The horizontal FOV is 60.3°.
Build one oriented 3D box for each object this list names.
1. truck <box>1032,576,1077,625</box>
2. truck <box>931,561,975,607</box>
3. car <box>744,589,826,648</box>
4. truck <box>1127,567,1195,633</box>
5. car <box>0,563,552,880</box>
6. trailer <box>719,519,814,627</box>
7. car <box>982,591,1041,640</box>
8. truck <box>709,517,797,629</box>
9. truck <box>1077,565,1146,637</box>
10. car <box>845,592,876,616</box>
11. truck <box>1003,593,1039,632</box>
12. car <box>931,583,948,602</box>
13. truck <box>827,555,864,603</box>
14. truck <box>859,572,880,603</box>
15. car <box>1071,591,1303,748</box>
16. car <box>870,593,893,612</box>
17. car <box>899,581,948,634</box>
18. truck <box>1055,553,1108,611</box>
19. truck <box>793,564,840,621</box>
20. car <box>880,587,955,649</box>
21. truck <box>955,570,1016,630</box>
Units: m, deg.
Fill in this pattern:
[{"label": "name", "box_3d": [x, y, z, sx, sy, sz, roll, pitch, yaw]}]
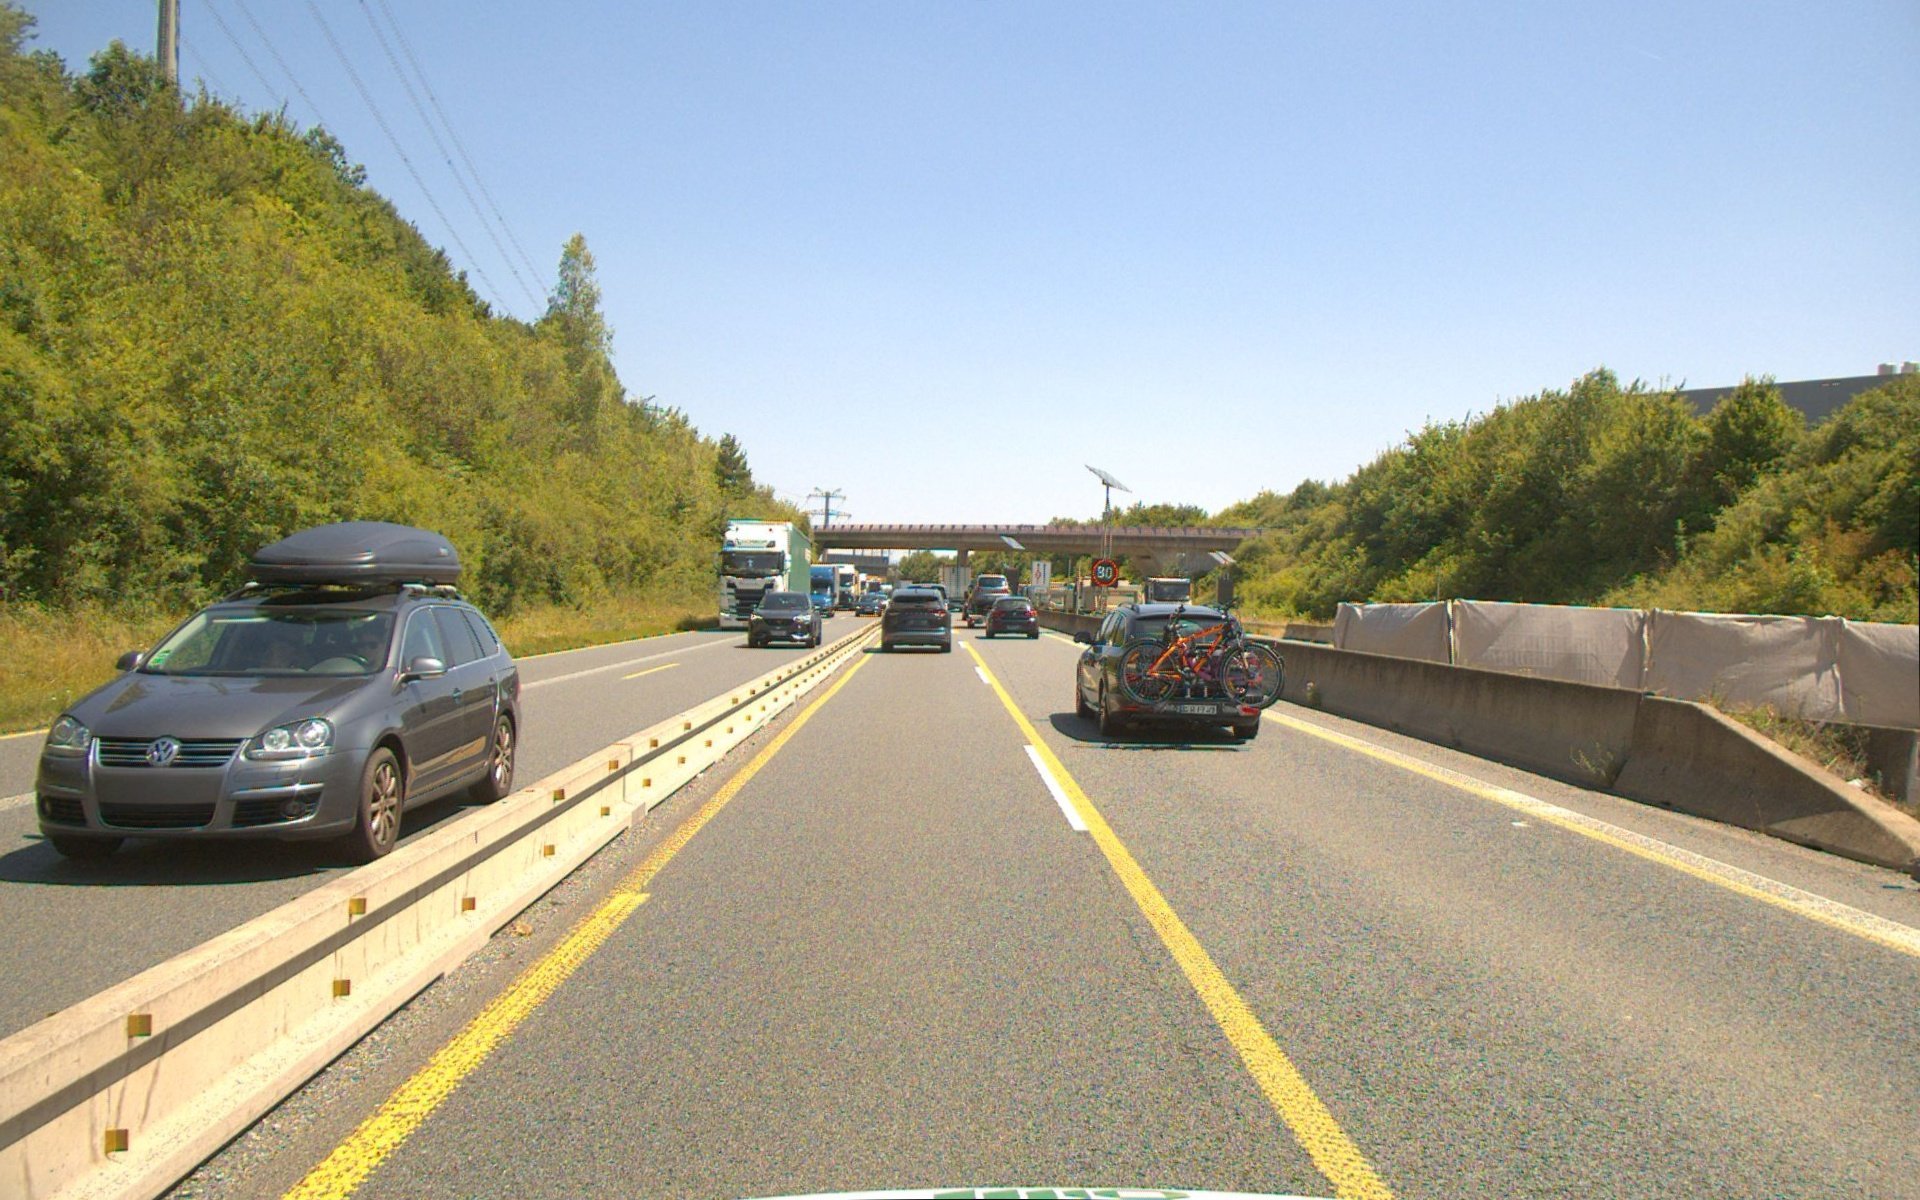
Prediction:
[{"label": "truck", "box_3d": [7.252, 0.027, 127.622, 2.633, 3.619, 9.599, 1, 0, -2]}, {"label": "truck", "box_3d": [-0.665, -1.390, 146.238, 3.227, 3.912, 10.102, 1, 0, -4]}, {"label": "car", "box_3d": [-4.821, 0.480, 46.018, 1.860, 1.531, 4.275, 1, 0, -1]}, {"label": "truck", "box_3d": [11.397, -0.014, 94.528, 2.633, 3.572, 8.377, 1, 0, -2]}, {"label": "car", "box_3d": [-3.985, 0.601, 10.309, 1.860, 1.542, 4.275, 1, 0, -1]}, {"label": "trailer", "box_3d": [-8.239, -1.082, 71.981, 2.833, 4.197, 13.240, 1, 0, -2]}, {"label": "car", "box_3d": [1.771, 0.512, 57.832, 1.860, 1.613, 4.275, 1, 0, -1]}, {"label": "truck", "box_3d": [-8.071, -1.014, 65.115, 2.836, 4.190, 6.018, 0, 0, -2]}, {"label": "truck", "box_3d": [7.851, 0.029, 86.737, 2.482, 3.572, 9.093, 1, 0, -2]}, {"label": "car", "box_3d": [-6.626, 0.266, 110.647, 1.724, 1.516, 4.402, 1, 0, 1]}, {"label": "truck", "box_3d": [5.877, 1.137, 160.439, 2.633, 3.619, 9.320, 1, 0, -3]}, {"label": "car", "box_3d": [-2.229, -0.771, 180.794, 1.860, 2.003, 4.275, 1, 0, -1]}, {"label": "truck", "box_3d": [-10.195, -1.842, 147.661, 2.596, 4.061, 9.649, 2, 0, -1]}, {"label": "truck", "box_3d": [-11.989, -1.649, 219.590, 2.361, 4.062, 10.349, 2, 0, -2]}, {"label": "car", "box_3d": [2.409, 0.694, 18.797, 1.860, 1.516, 4.946, 1, 0, -1]}, {"label": "car", "box_3d": [-6.371, 0.214, 135.150, 1.804, 1.516, 4.509, 0, 0, -2]}, {"label": "car", "box_3d": [-1.436, 0.291, 65.803, 1.860, 2.003, 4.275, 1, 0, -1]}, {"label": "truck", "box_3d": [7.948, -1.171, 109.072, 2.487, 3.619, 9.599, 1, 0, -2]}, {"label": "truck", "box_3d": [-8.956, -0.508, 103.904, 2.356, 3.388, 7.499, 1, 0, -1]}, {"label": "car", "box_3d": [-1.102, 0.457, 43.595, 1.860, 1.531, 4.275, 1, 0, -1]}, {"label": "truck", "box_3d": [1.108, -0.050, 76.943, 2.357, 2.603, 7.496, 1, 1, -3]}]
